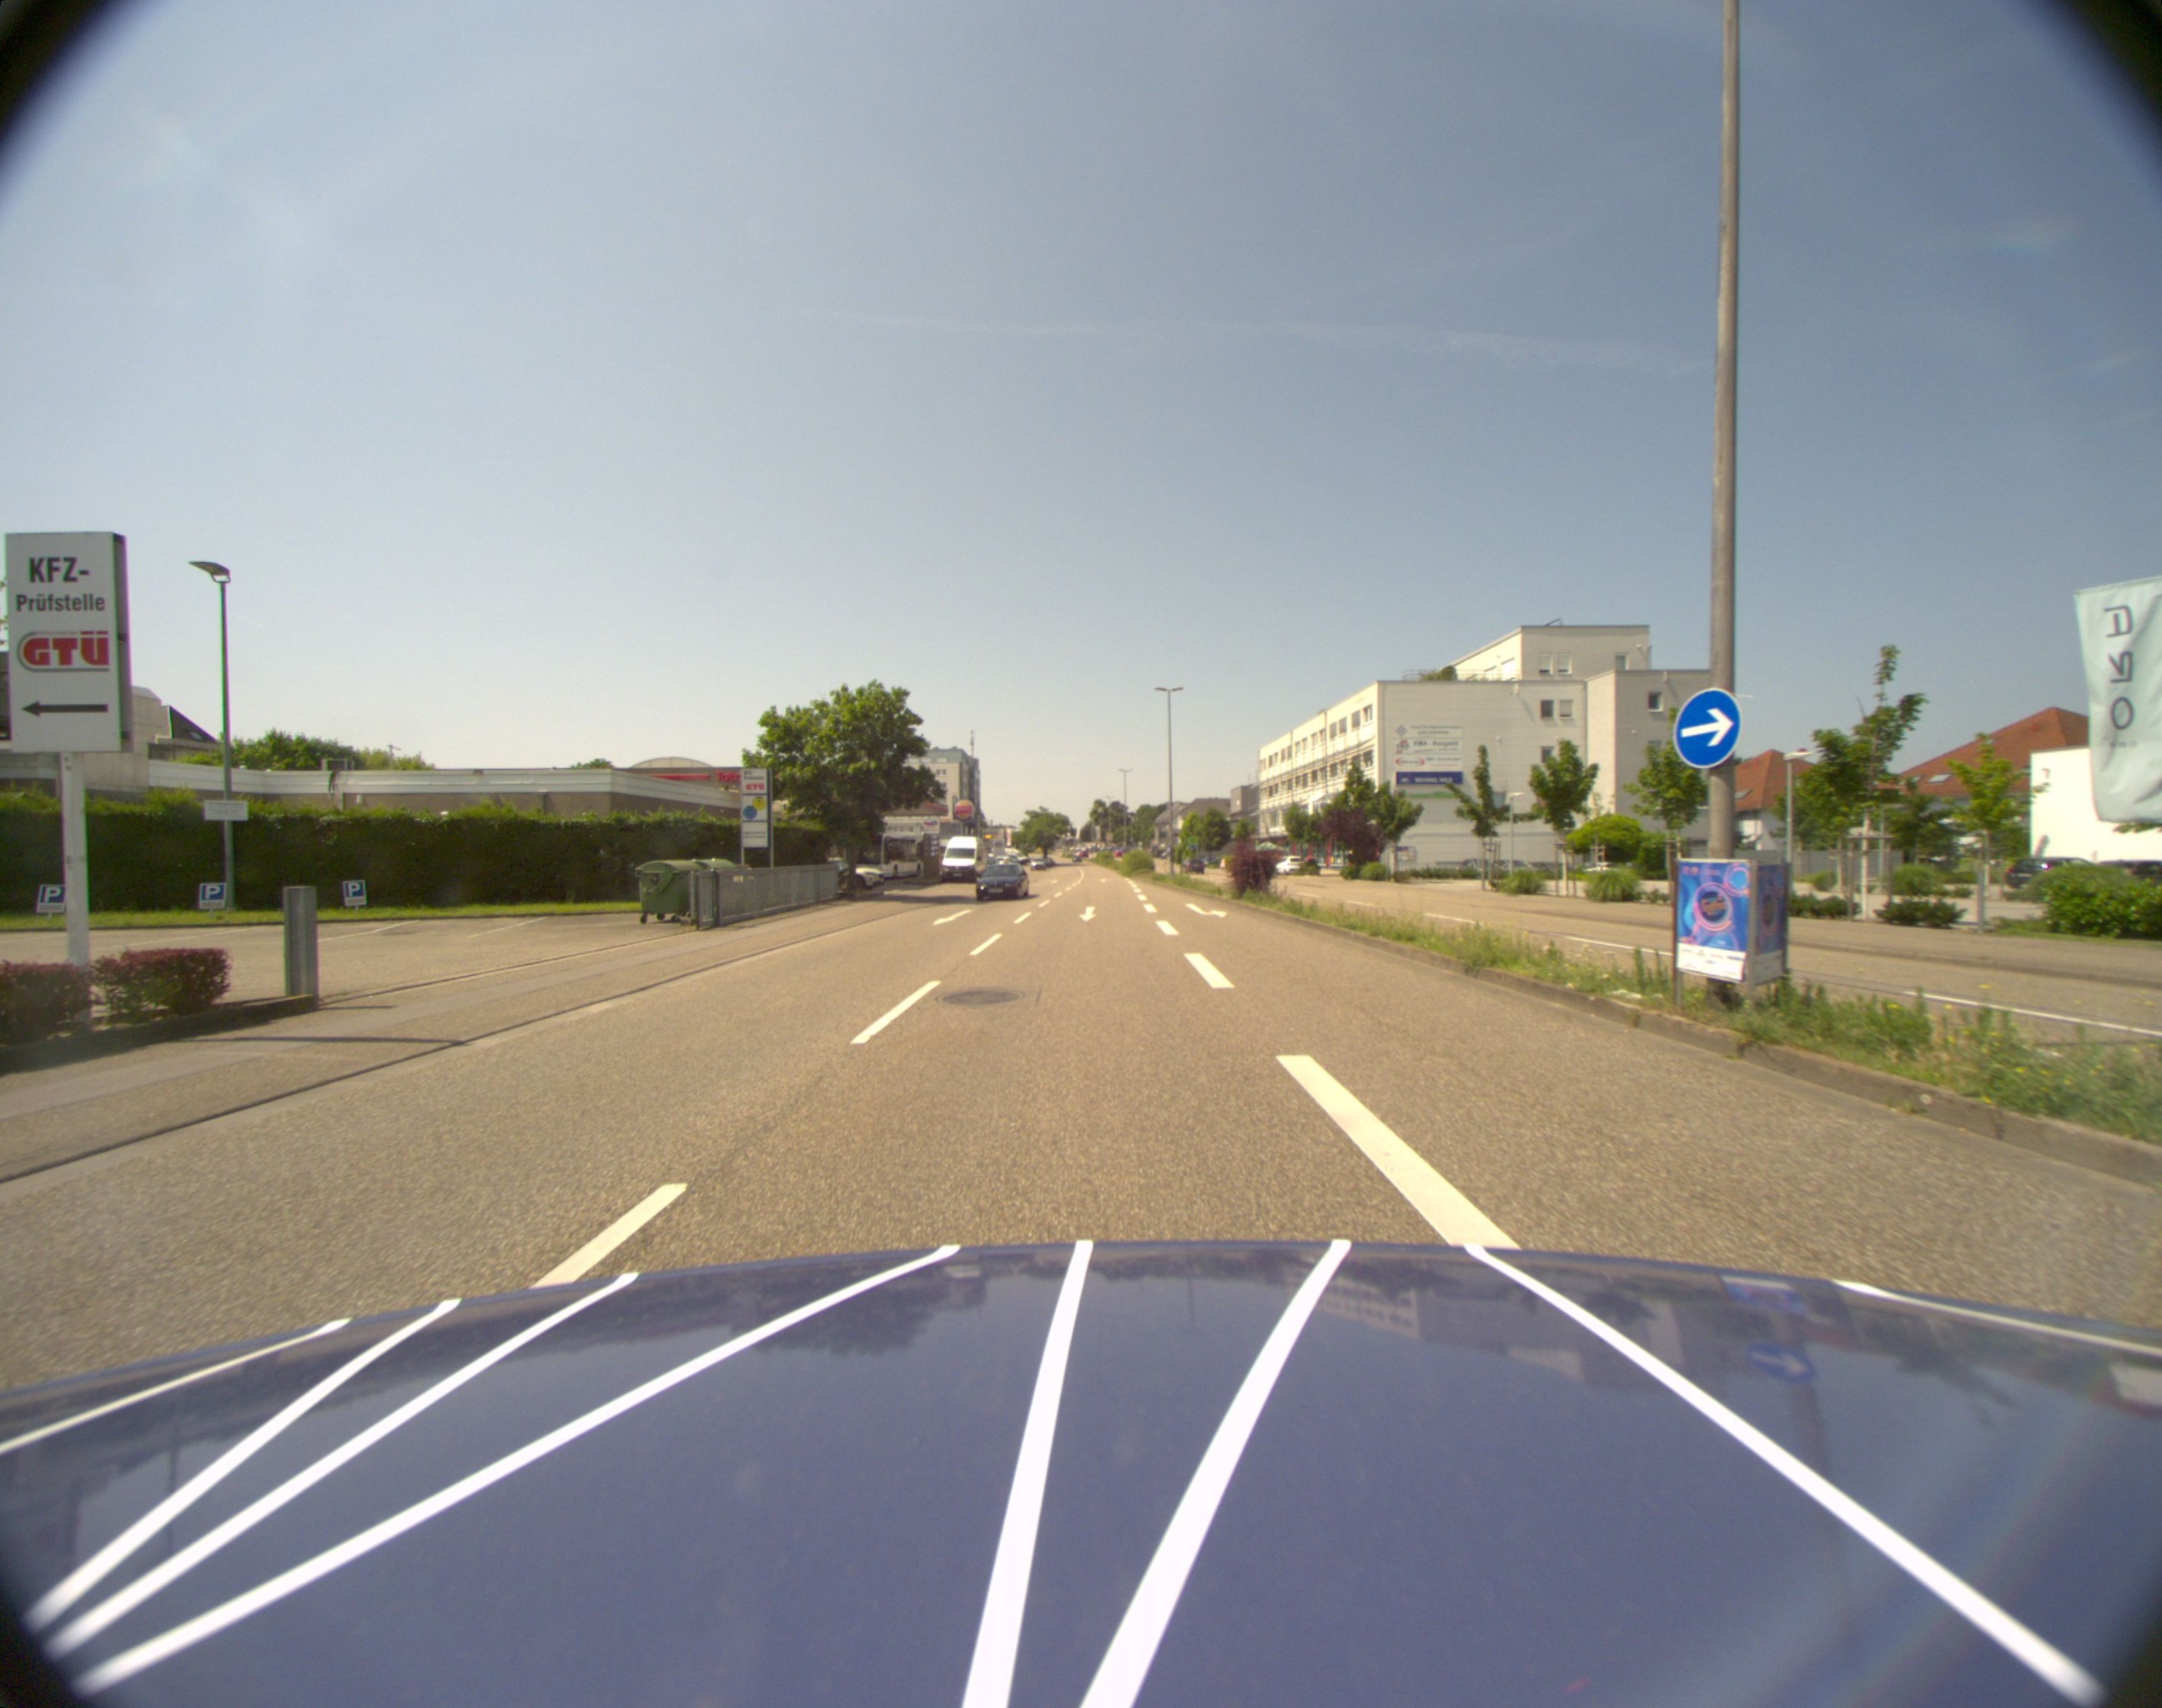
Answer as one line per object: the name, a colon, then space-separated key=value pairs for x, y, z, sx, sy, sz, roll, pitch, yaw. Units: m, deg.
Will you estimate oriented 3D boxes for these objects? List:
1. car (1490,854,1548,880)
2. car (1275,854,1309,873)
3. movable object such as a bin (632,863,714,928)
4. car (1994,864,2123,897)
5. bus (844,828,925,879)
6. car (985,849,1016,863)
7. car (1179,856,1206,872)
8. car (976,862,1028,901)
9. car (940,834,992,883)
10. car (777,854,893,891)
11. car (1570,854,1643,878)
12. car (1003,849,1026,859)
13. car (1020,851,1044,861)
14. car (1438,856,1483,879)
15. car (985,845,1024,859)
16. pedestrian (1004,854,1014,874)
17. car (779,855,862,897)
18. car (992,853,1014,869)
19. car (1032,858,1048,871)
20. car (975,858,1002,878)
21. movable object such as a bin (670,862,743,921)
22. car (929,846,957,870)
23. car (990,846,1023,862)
car: x=26.493 y=0.745 z=46.098 sx=1.557 sy=1.510 sz=3.556 roll=0 pitch=0 yaw=2
car: x=17.136 y=0.777 z=61.920 sx=1.696 sy=1.440 sz=3.665 roll=-1 pitch=0 yaw=-1
movable object such as a bin: x=-9.674 y=0.945 z=18.085 sx=1.133 sy=1.461 sz=1.489 roll=0 pitch=0 yaw=0
car: x=45.596 y=1.206 z=35.494 sx=3.999 sy=1.444 sz=1.877 roll=0 pitch=0 yaw=-6
bus: x=-13.032 y=-0.040 z=51.274 sx=2.755 sy=3.134 sz=9.079 roll=0 pitch=0 yaw=2
car: x=-10.616 y=0.234 z=100.351 sx=3.999 sy=1.906 sz=1.724 roll=0 pitch=0 yaw=-5
car: x=10.564 y=0.942 z=72.189 sx=1.832 sy=1.452 sz=4.711 roll=0 pitch=0 yaw=-1
car: x=-3.053 y=1.031 z=29.991 sx=1.632 sy=1.331 sz=3.756 roll=-2 pitch=0 yaw=0
car: x=-7.032 y=0.262 z=47.240 sx=2.183 sy=2.757 sz=7.276 roll=2 pitch=0 yaw=-1
car: x=-11.215 y=0.828 z=34.800 sx=4.633 sy=1.518 sz=1.907 roll=2 pitch=0 yaw=2
car: x=31.825 y=0.694 z=46.159 sx=1.924 sy=1.376 sz=3.834 roll=0 pitch=0 yaw=3
car: x=-11.591 y=-0.024 z=132.871 sx=3.999 sy=1.755 sz=1.724 roll=0 pitch=0 yaw=-5
car: x=-8.135 y=0.327 z=126.944 sx=3.999 sy=1.755 sz=1.724 roll=0 pitch=1 yaw=-5
car: x=23.613 y=0.826 z=47.334 sx=1.456 sy=1.332 sz=2.833 roll=0 pitch=0 yaw=2
car: x=-13.776 y=-0.361 z=136.556 sx=6.873 sy=2.589 sz=1.728 roll=0 pitch=1 yaw=21
pedestrian: x=-5.985 y=0.836 z=62.968 sx=0.704 sy=1.572 sz=0.820 roll=2 pitch=1 yaw=-2
car: x=-10.258 y=0.830 z=30.294 sx=1.798 sy=1.458 sz=4.636 roll=2 pitch=0 yaw=-1
car: x=-8.020 y=0.708 z=78.732 sx=1.860 sy=1.572 sz=3.999 roll=2 pitch=0 yaw=0
car: x=-4.959 y=1.250 z=92.660 sx=1.867 sy=1.550 sz=3.999 roll=0 pitch=0 yaw=-1
car: x=-7.364 y=1.119 z=60.883 sx=1.681 sy=1.440 sz=3.840 roll=2 pitch=0 yaw=-1
movable object such as a bin: x=-9.671 y=0.938 z=19.680 sx=1.133 sy=1.461 sz=1.489 roll=0 pitch=0 yaw=0
car: x=-14.218 y=0.374 z=78.800 sx=2.058 sy=2.421 sz=5.574 roll=0 pitch=0 yaw=-2
car: x=-9.300 y=0.022 z=94.875 sx=3.999 sy=1.907 sz=1.724 roll=0 pitch=0 yaw=-5
